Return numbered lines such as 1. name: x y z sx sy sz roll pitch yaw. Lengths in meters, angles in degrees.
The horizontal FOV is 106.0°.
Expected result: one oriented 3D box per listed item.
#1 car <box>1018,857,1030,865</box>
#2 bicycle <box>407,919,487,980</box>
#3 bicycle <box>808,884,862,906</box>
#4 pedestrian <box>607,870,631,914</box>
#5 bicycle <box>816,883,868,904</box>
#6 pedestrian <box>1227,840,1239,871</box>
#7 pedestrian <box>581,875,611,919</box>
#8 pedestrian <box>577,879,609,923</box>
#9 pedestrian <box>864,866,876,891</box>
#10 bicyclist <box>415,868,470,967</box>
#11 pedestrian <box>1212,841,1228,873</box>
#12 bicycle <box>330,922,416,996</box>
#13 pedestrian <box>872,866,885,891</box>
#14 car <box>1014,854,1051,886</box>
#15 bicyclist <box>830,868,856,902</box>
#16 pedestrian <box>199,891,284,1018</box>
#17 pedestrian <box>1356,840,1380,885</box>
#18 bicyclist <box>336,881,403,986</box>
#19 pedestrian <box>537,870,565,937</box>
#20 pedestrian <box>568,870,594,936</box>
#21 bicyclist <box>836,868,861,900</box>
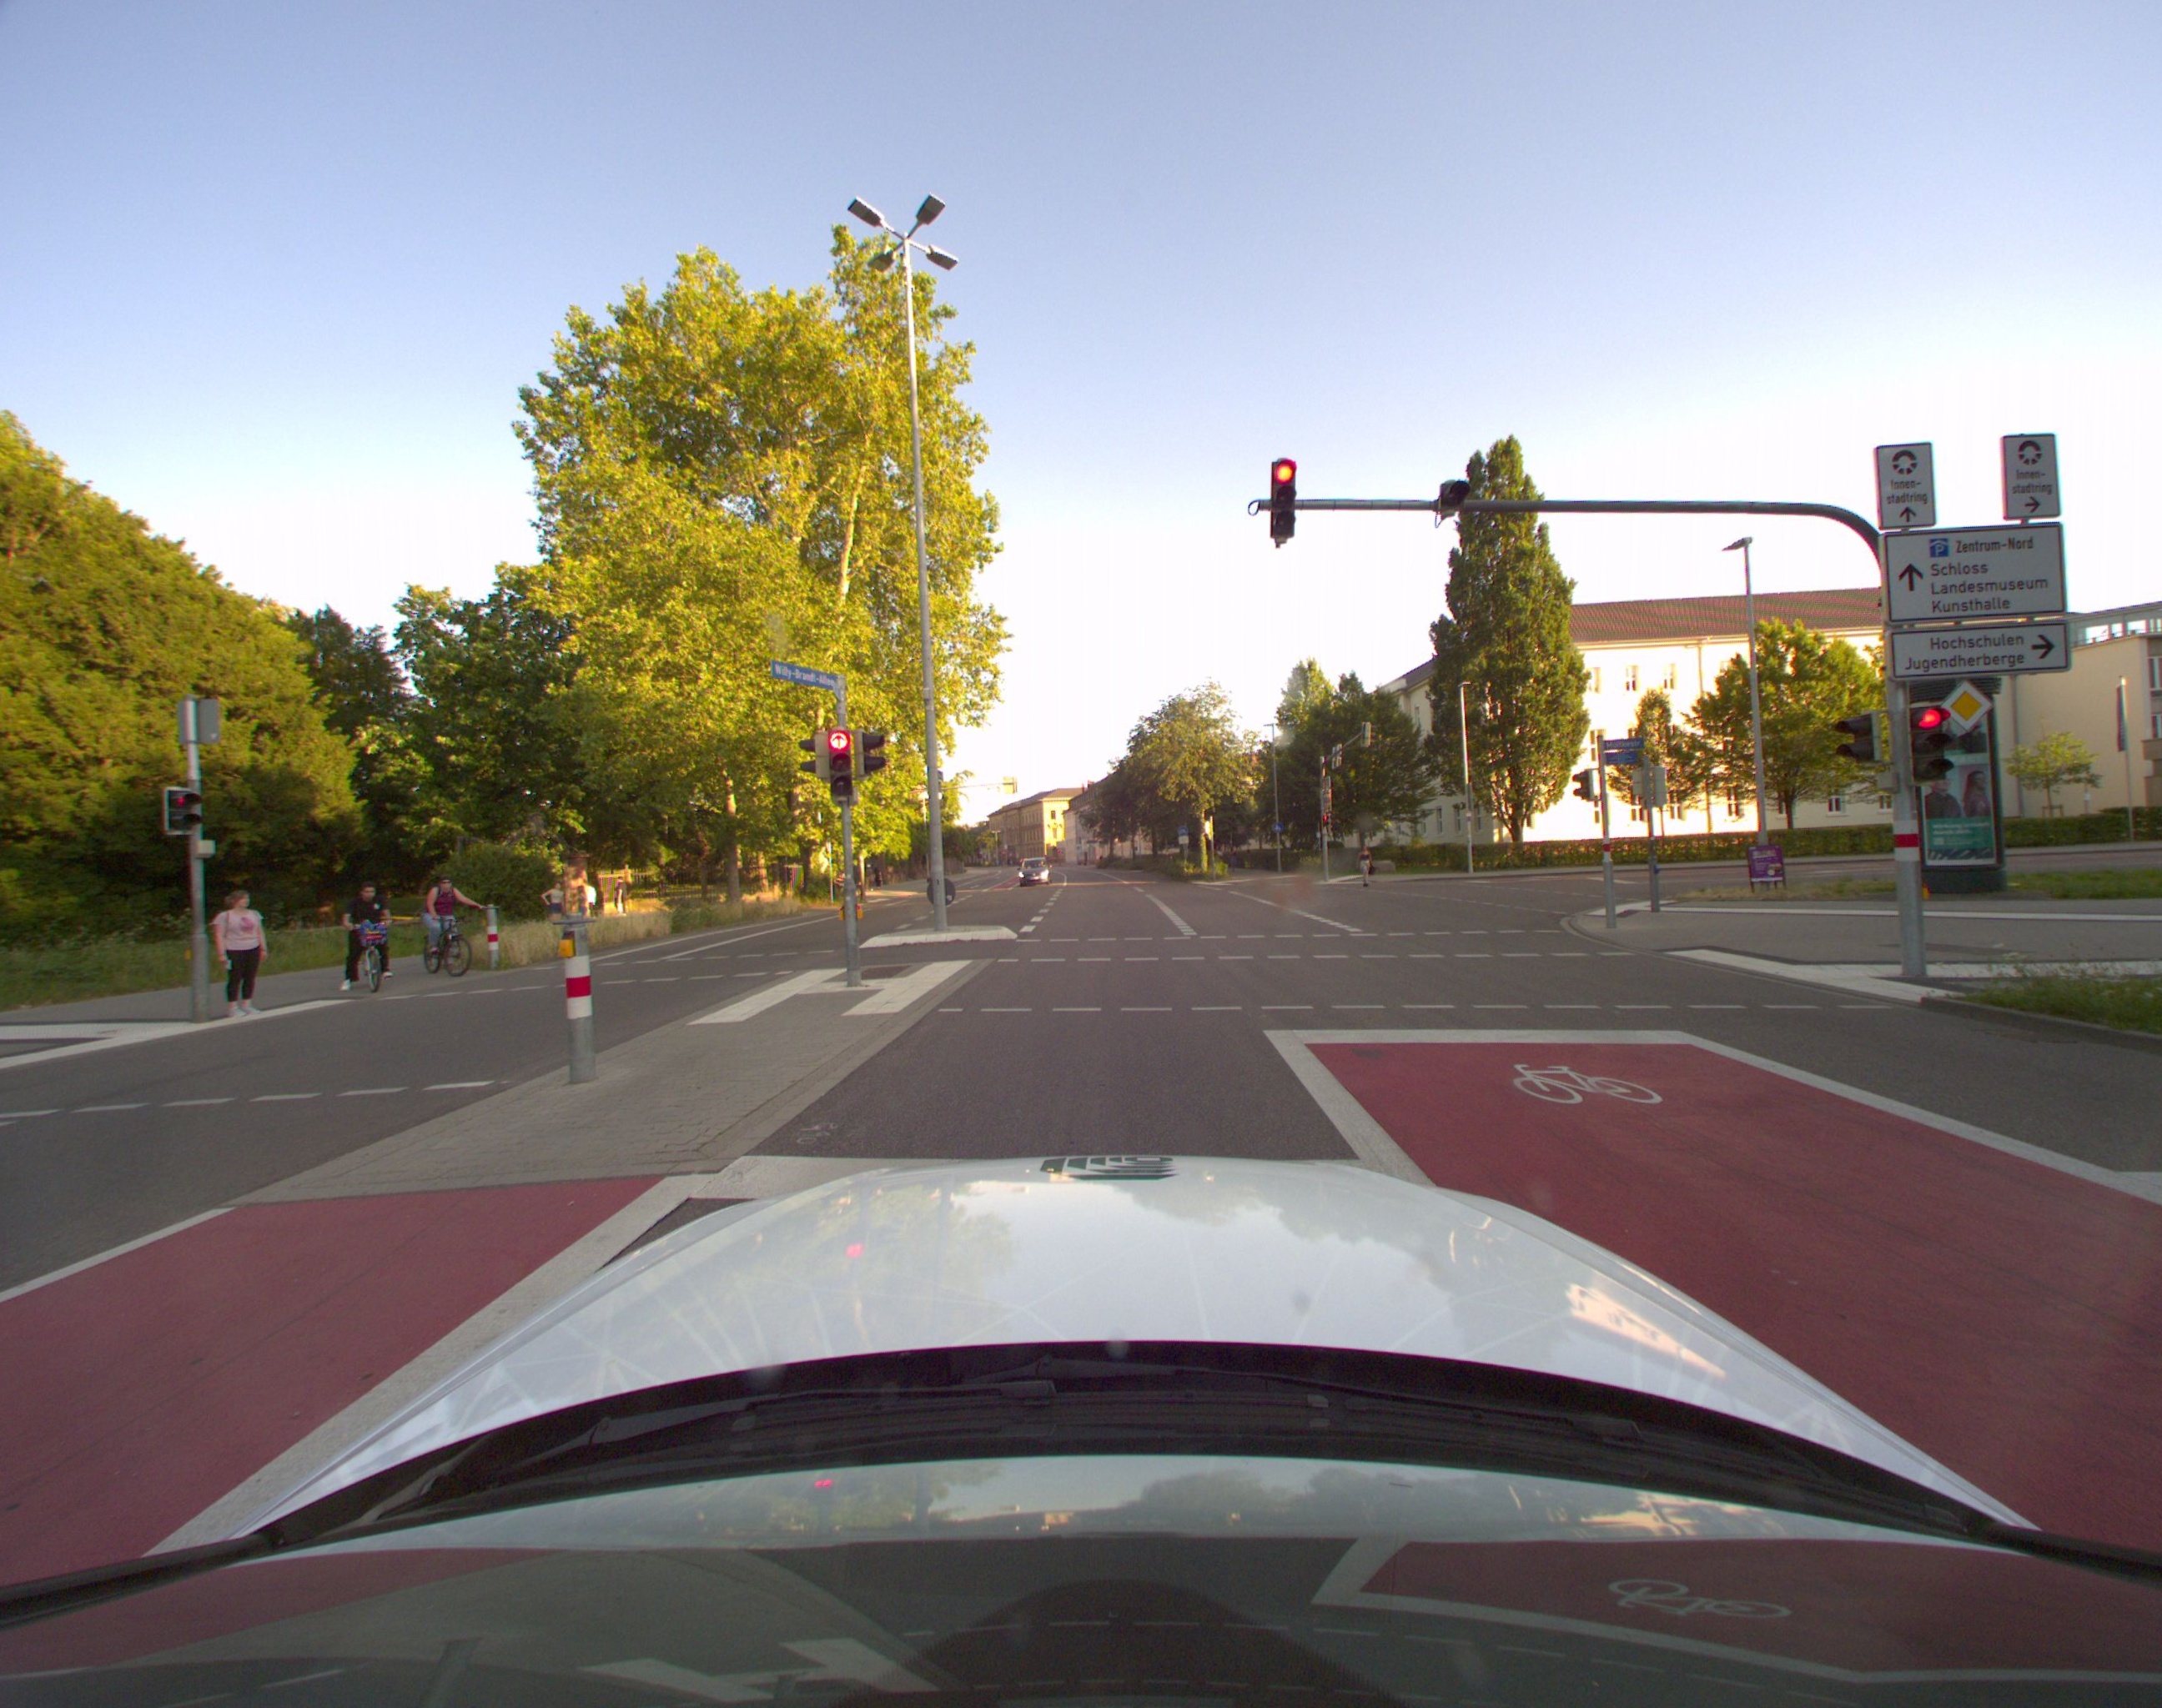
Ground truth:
1. car: -11.906 1.516 170.256 1.821 1.588 3.983 -4 0 -12
2. bicycle: -11.833 1.749 15.179 1.749 1.030 0.583 -3 0 32
3. bicycle: -12.289 2.045 40.712 2.420 0.924 0.775 -3 0 2
4. pedestrian: -21.725 1.781 38.307 0.637 2.013 0.702 -3 0 4
5. bicycle: -12.441 2.056 42.462 2.420 0.924 0.775 -3 0 2
6. pedestrian: 9.984 0.083 53.499 0.633 2.013 0.720 -2 0 -2
7. pedestrian: -23.311 2.045 39.149 0.799 2.013 0.994 -2 0 1
8. pedestrian: -23.330 2.216 38.947 0.757 2.013 1.077 -2 0 2
9. pedestrian: -13.650 1.579 52.664 0.533 1.596 0.591 -3 0 1
10. bicyclist: -11.943 1.167 15.237 0.631 1.780 0.580 -3 0 32
11. pedestrian: 9.055 0.192 53.001 0.867 2.013 0.723 -2 0 1
12. bicycle: -11.784 1.716 13.548 1.548 1.111 0.637 -3 0 32
13. pedestrian: -13.035 1.563 52.505 0.597 1.573 0.646 -3 0 1
14. car: -2.840 0.917 48.506 1.844 1.720 4.293 -5 0 -1
15. bicyclist: -11.901 1.537 40.713 0.954 1.631 0.753 -3 0 2
16. pedestrian: -11.761 1.391 11.418 0.604 1.695 0.499 -3 0 3
17. pedestrian: 10.785 0.322 30.617 0.598 1.636 0.691 -2 0 -3
18. bicyclist: -11.871 1.307 13.591 0.631 1.649 0.634 -3 0 32
19. pedestrian: -16.599 1.533 25.502 0.654 2.013 0.599 -1 -1 -37
20. pedestrian: -15.670 1.529 25.520 0.598 2.013 0.634 -1 -1 -38
21. bicyclist: -12.113 1.550 42.461 0.954 1.631 0.753 -3 0 2
